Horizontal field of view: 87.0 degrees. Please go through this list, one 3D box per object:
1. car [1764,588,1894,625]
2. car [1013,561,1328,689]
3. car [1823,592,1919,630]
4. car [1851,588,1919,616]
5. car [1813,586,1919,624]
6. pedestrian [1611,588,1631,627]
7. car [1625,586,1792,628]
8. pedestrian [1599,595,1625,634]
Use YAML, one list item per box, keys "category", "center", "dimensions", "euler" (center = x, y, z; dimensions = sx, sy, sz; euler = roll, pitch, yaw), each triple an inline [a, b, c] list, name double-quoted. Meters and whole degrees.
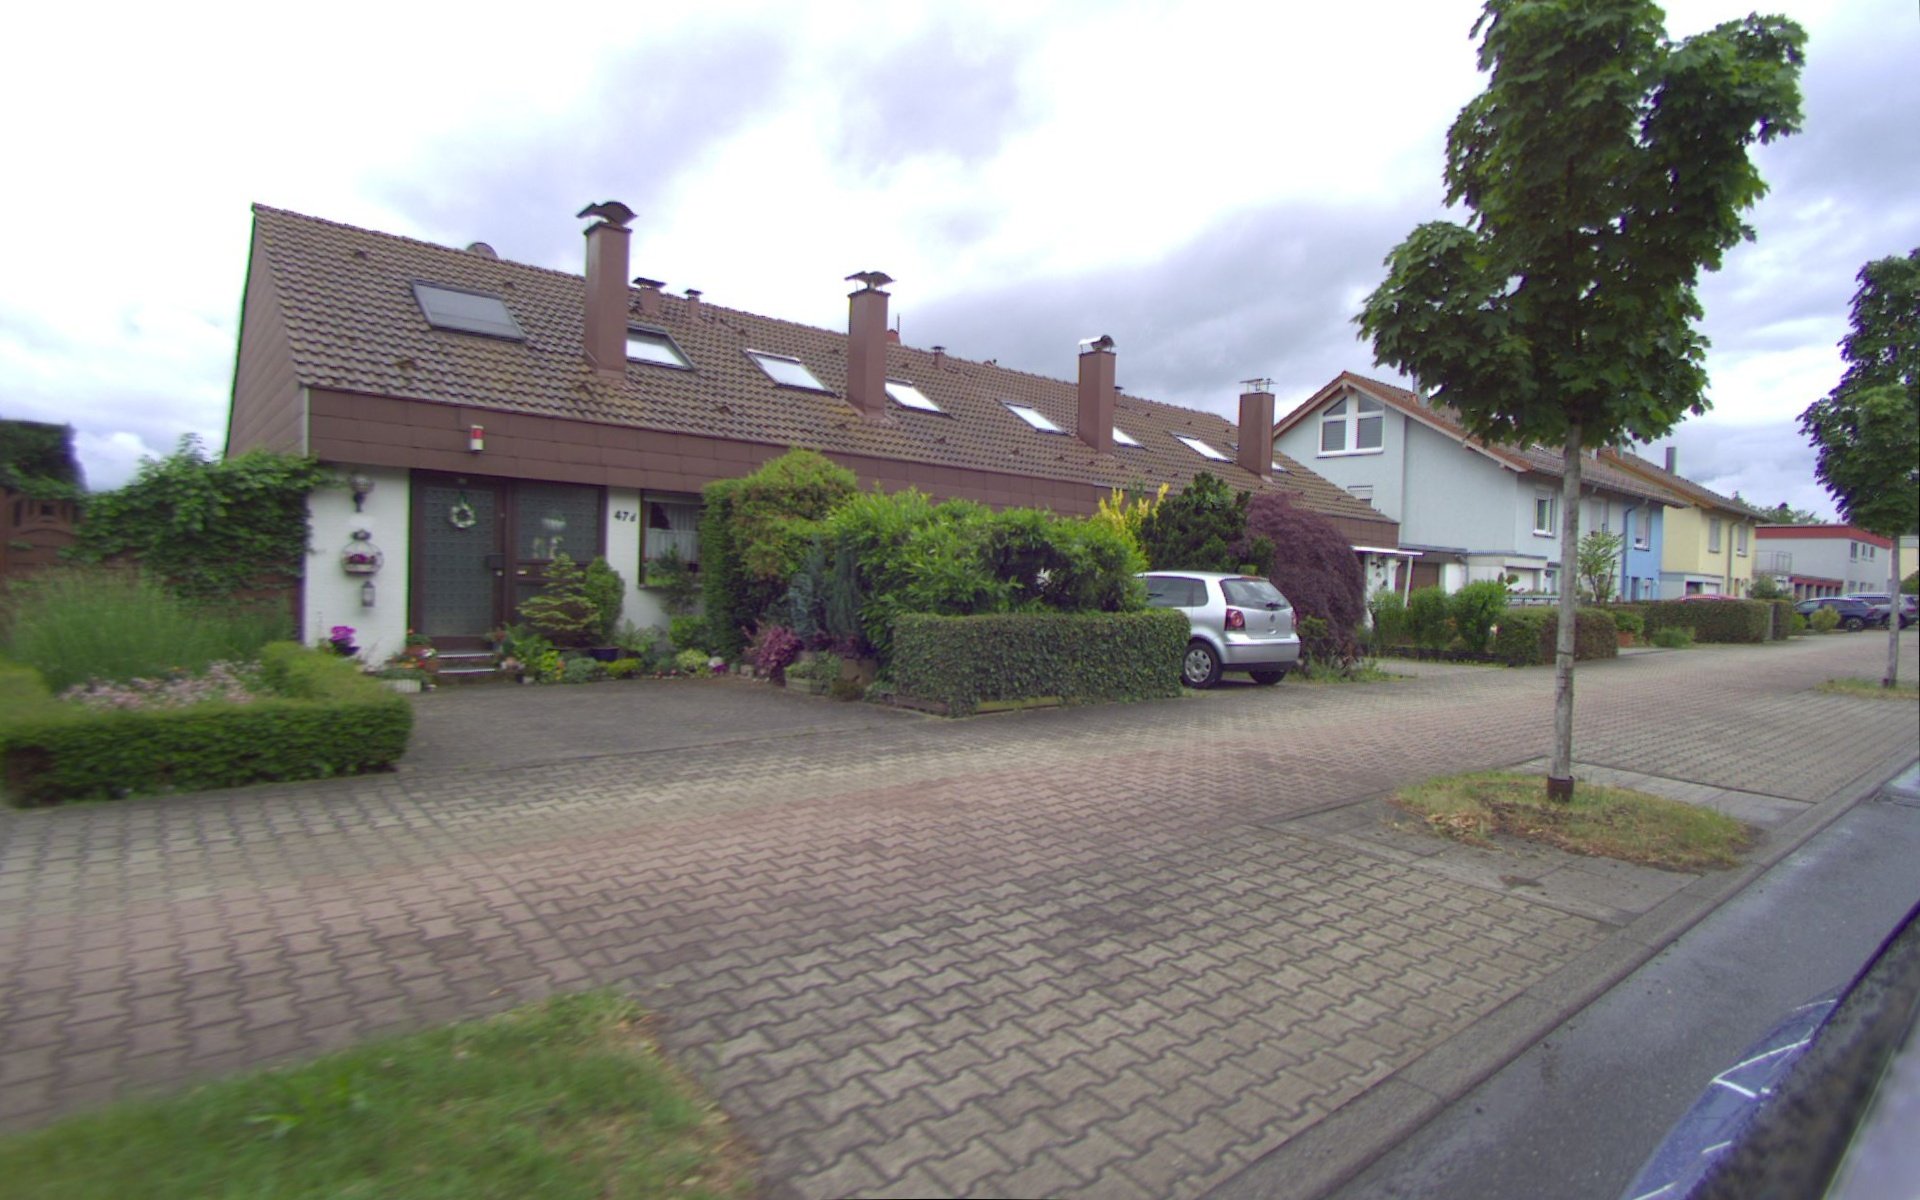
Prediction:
- category: "car"
  center: [36.512, 0.313, 42.605]
  dimensions: [1.646, 1.406, 3.989]
  euler: [3, -4, -44]
- category: "car"
  center: [2.732, 0.228, 13.882]
  dimensions: [1.814, 1.460, 3.997]
  euler: [0, 2, -38]
- category: "car"
  center: [44.599, 0.500, 48.849]
  dimensions: [1.956, 1.692, 4.190]
  euler: [0, 2, -39]
- category: "car"
  center: [52.227, 0.104, 56.406]
  dimensions: [1.677, 1.459, 3.699]
  euler: [0, 2, -41]
- category: "car"
  center: [42.010, 0.216, 46.555]
  dimensions: [4.178, 1.693, 1.695]
  euler: [-1, -1, 43]
- category: "pedestrian"
  center: [23.704, 0.262, 36.283]
  dimensions: [0.534, 1.368, 0.522]
  euler: [1, 1, 37]
- category: "car"
  center: [24.262, 0.204, 32.964]
  dimensions: [4.292, 1.276, 1.657]
  euler: [1, 0, 37]
- category: "pedestrian"
  center: [23.174, 0.514, 35.965]
  dimensions: [0.552, 1.368, 0.498]
  euler: [0, 1, -18]
